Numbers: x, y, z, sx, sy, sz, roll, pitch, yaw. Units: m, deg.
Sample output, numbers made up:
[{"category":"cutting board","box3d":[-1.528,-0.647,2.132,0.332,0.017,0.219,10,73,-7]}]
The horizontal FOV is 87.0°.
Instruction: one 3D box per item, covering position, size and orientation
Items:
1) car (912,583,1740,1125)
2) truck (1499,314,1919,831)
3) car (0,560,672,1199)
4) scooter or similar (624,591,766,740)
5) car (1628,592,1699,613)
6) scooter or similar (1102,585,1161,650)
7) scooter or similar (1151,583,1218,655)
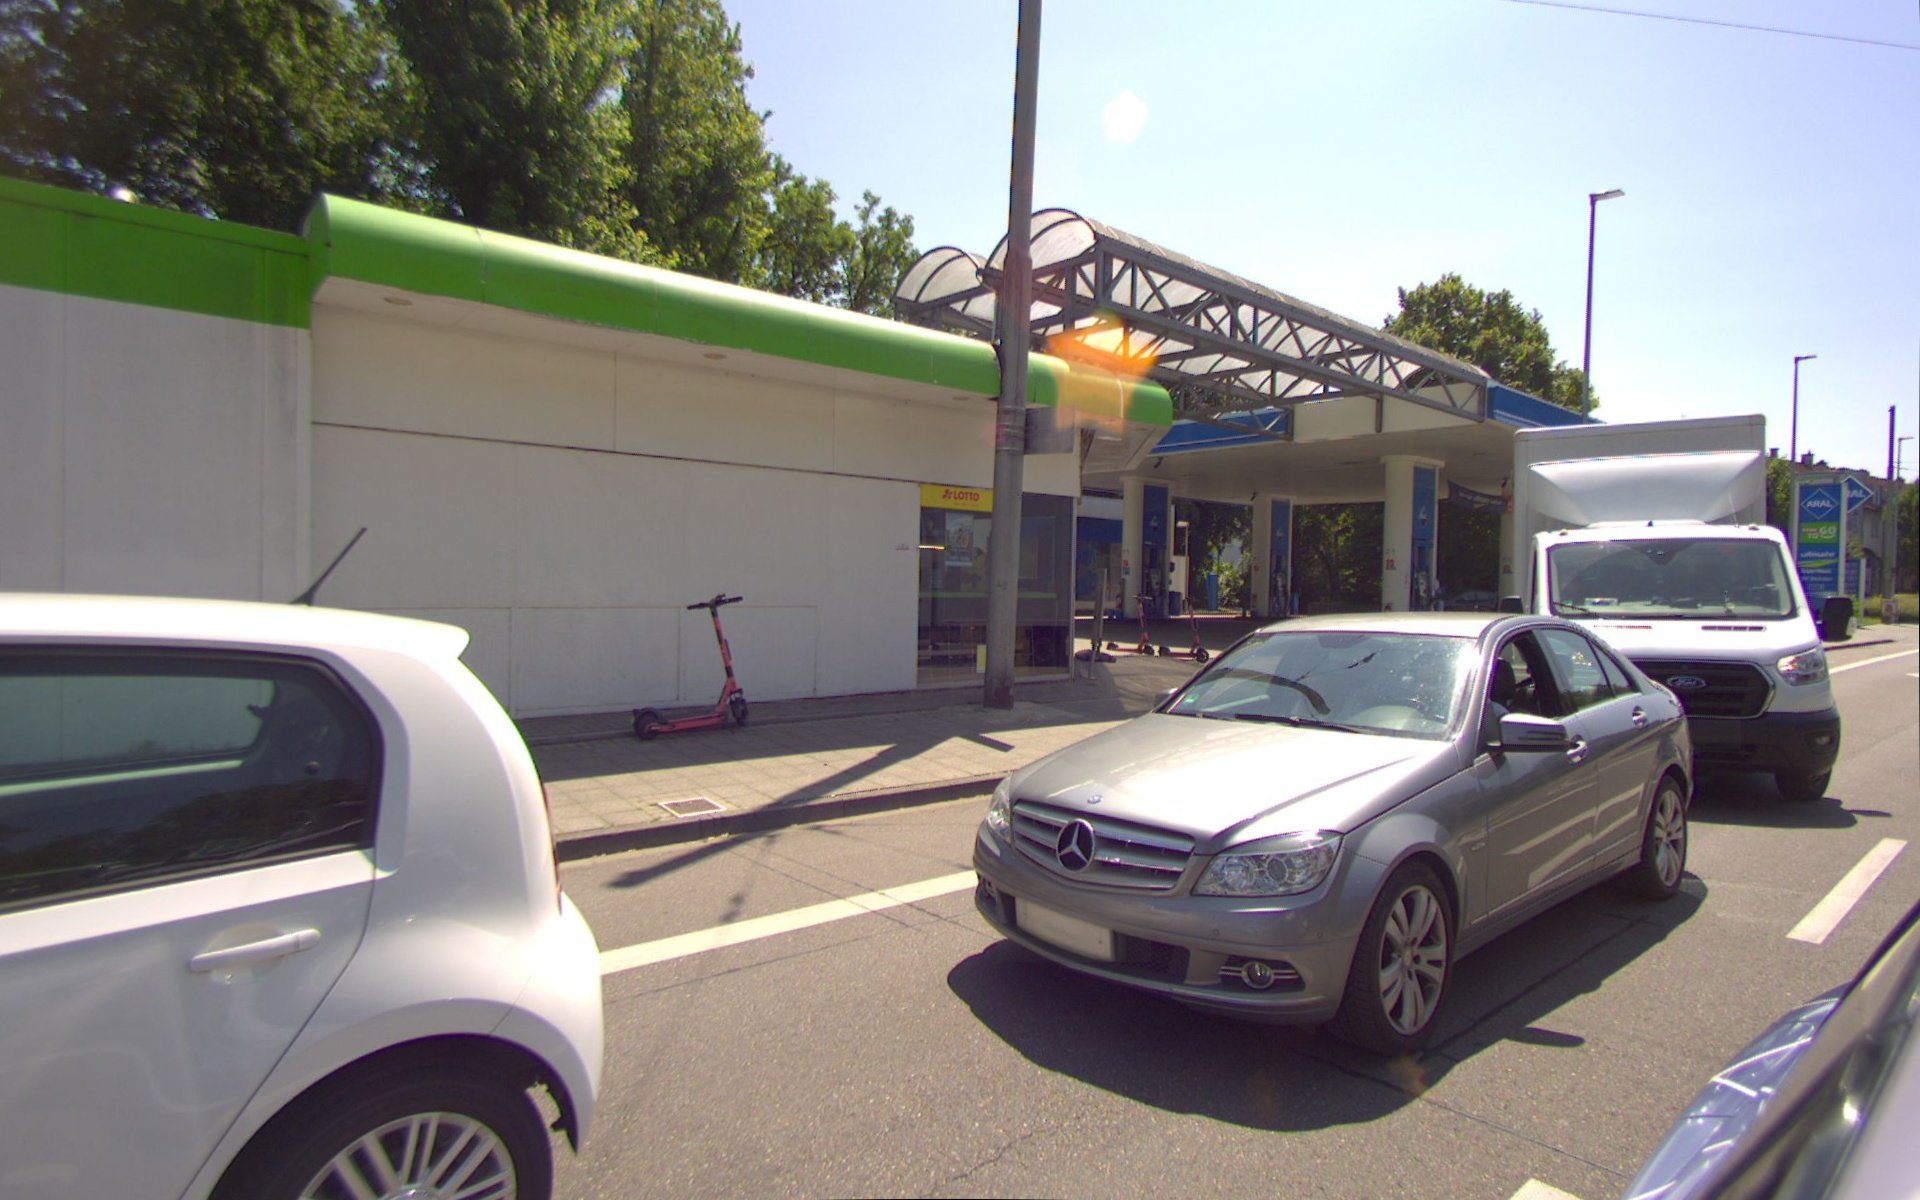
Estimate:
[{"category":"car","box3d":[2.040,0.684,4.871,4.339,1.467,1.800,0,1,-40]},{"category":"truck","box3d":[7.175,-0.256,10.707,2.406,3.434,7.753,1,1,29]},{"category":"car","box3d":[-2.436,0.676,1.635,3.458,1.470,1.610,0,0,-40]},{"category":"scooter or similar","box3d":[-2.307,0.541,8.845,1.117,1.209,0.384,0,4,-36]},{"category":"car","box3d":[56.279,0.184,81.041,1.961,1.540,4.230,0,1,-32]},{"category":"scooter or similar","box3d":[3.279,0.327,19.388,0.377,1.191,1.138,0,1,-39]},{"category":"scooter or similar","box3d":[4.071,0.326,18.416,0.404,1.256,1.176,0,1,-39]}]
